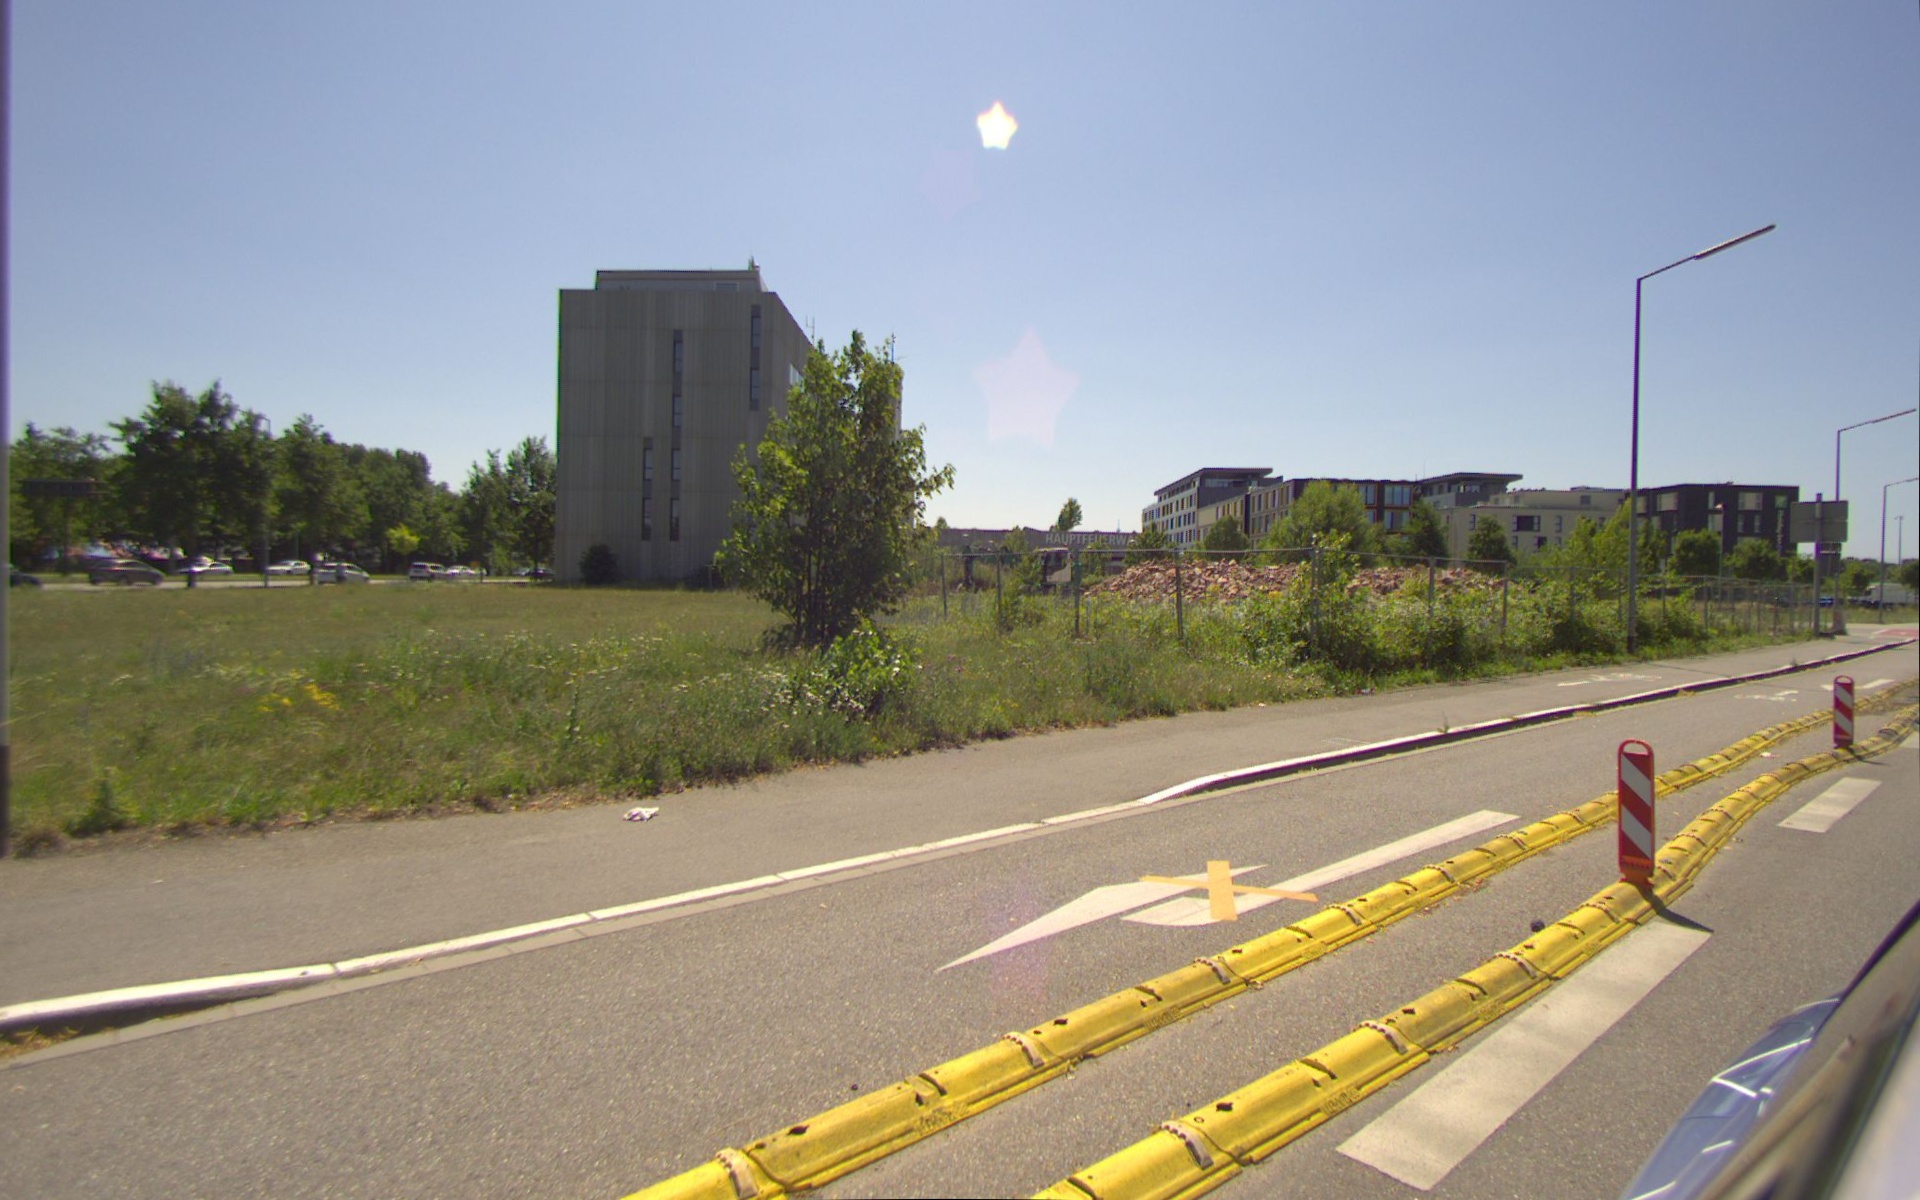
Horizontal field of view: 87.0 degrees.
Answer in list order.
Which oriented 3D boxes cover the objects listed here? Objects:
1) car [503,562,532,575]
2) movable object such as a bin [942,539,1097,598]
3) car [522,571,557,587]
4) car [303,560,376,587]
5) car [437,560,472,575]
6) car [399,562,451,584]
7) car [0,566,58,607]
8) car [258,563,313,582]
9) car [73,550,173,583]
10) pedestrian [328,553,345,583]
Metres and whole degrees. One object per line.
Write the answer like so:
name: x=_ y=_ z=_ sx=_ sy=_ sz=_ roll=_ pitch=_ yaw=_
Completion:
car: x=-57.782 y=-4.099 z=132.323 sx=1.814 sy=1.612 sz=4.443 roll=0 pitch=0 yaw=1
movable object such as a bin: x=3.131 y=-1.597 z=53.300 sx=7.537 sy=2.952 sz=3.242 roll=-1 pitch=0 yaw=-26
car: x=-47.183 y=-2.366 z=113.628 sx=1.962 sy=1.757 sz=4.645 roll=0 pitch=0 yaw=-1
car: x=-42.617 y=-1.791 z=69.633 sx=1.964 sy=1.757 sz=4.639 roll=0 pitch=0 yaw=4
car: x=-58.127 y=-3.693 z=116.404 sx=1.814 sy=1.612 sz=4.443 roll=0 pitch=0 yaw=1
car: x=-44.809 y=-2.233 z=84.887 sx=1.962 sy=1.757 sz=4.645 roll=0 pitch=0 yaw=-1
car: x=-42.495 y=-0.578 z=44.152 sx=1.964 sy=1.757 sz=4.639 roll=0 pitch=0 yaw=4
car: x=-58.794 y=-2.370 z=88.278 sx=1.814 sy=1.612 sz=4.443 roll=0 pitch=0 yaw=1
car: x=-47.938 y=-1.886 z=58.130 sx=1.962 sy=1.757 sz=4.645 roll=0 pitch=0 yaw=-1
pedestrian: x=-33.905 y=-1.719 z=55.062 sx=0.652 sy=1.611 sz=0.557 roll=0 pitch=0 yaw=-15
